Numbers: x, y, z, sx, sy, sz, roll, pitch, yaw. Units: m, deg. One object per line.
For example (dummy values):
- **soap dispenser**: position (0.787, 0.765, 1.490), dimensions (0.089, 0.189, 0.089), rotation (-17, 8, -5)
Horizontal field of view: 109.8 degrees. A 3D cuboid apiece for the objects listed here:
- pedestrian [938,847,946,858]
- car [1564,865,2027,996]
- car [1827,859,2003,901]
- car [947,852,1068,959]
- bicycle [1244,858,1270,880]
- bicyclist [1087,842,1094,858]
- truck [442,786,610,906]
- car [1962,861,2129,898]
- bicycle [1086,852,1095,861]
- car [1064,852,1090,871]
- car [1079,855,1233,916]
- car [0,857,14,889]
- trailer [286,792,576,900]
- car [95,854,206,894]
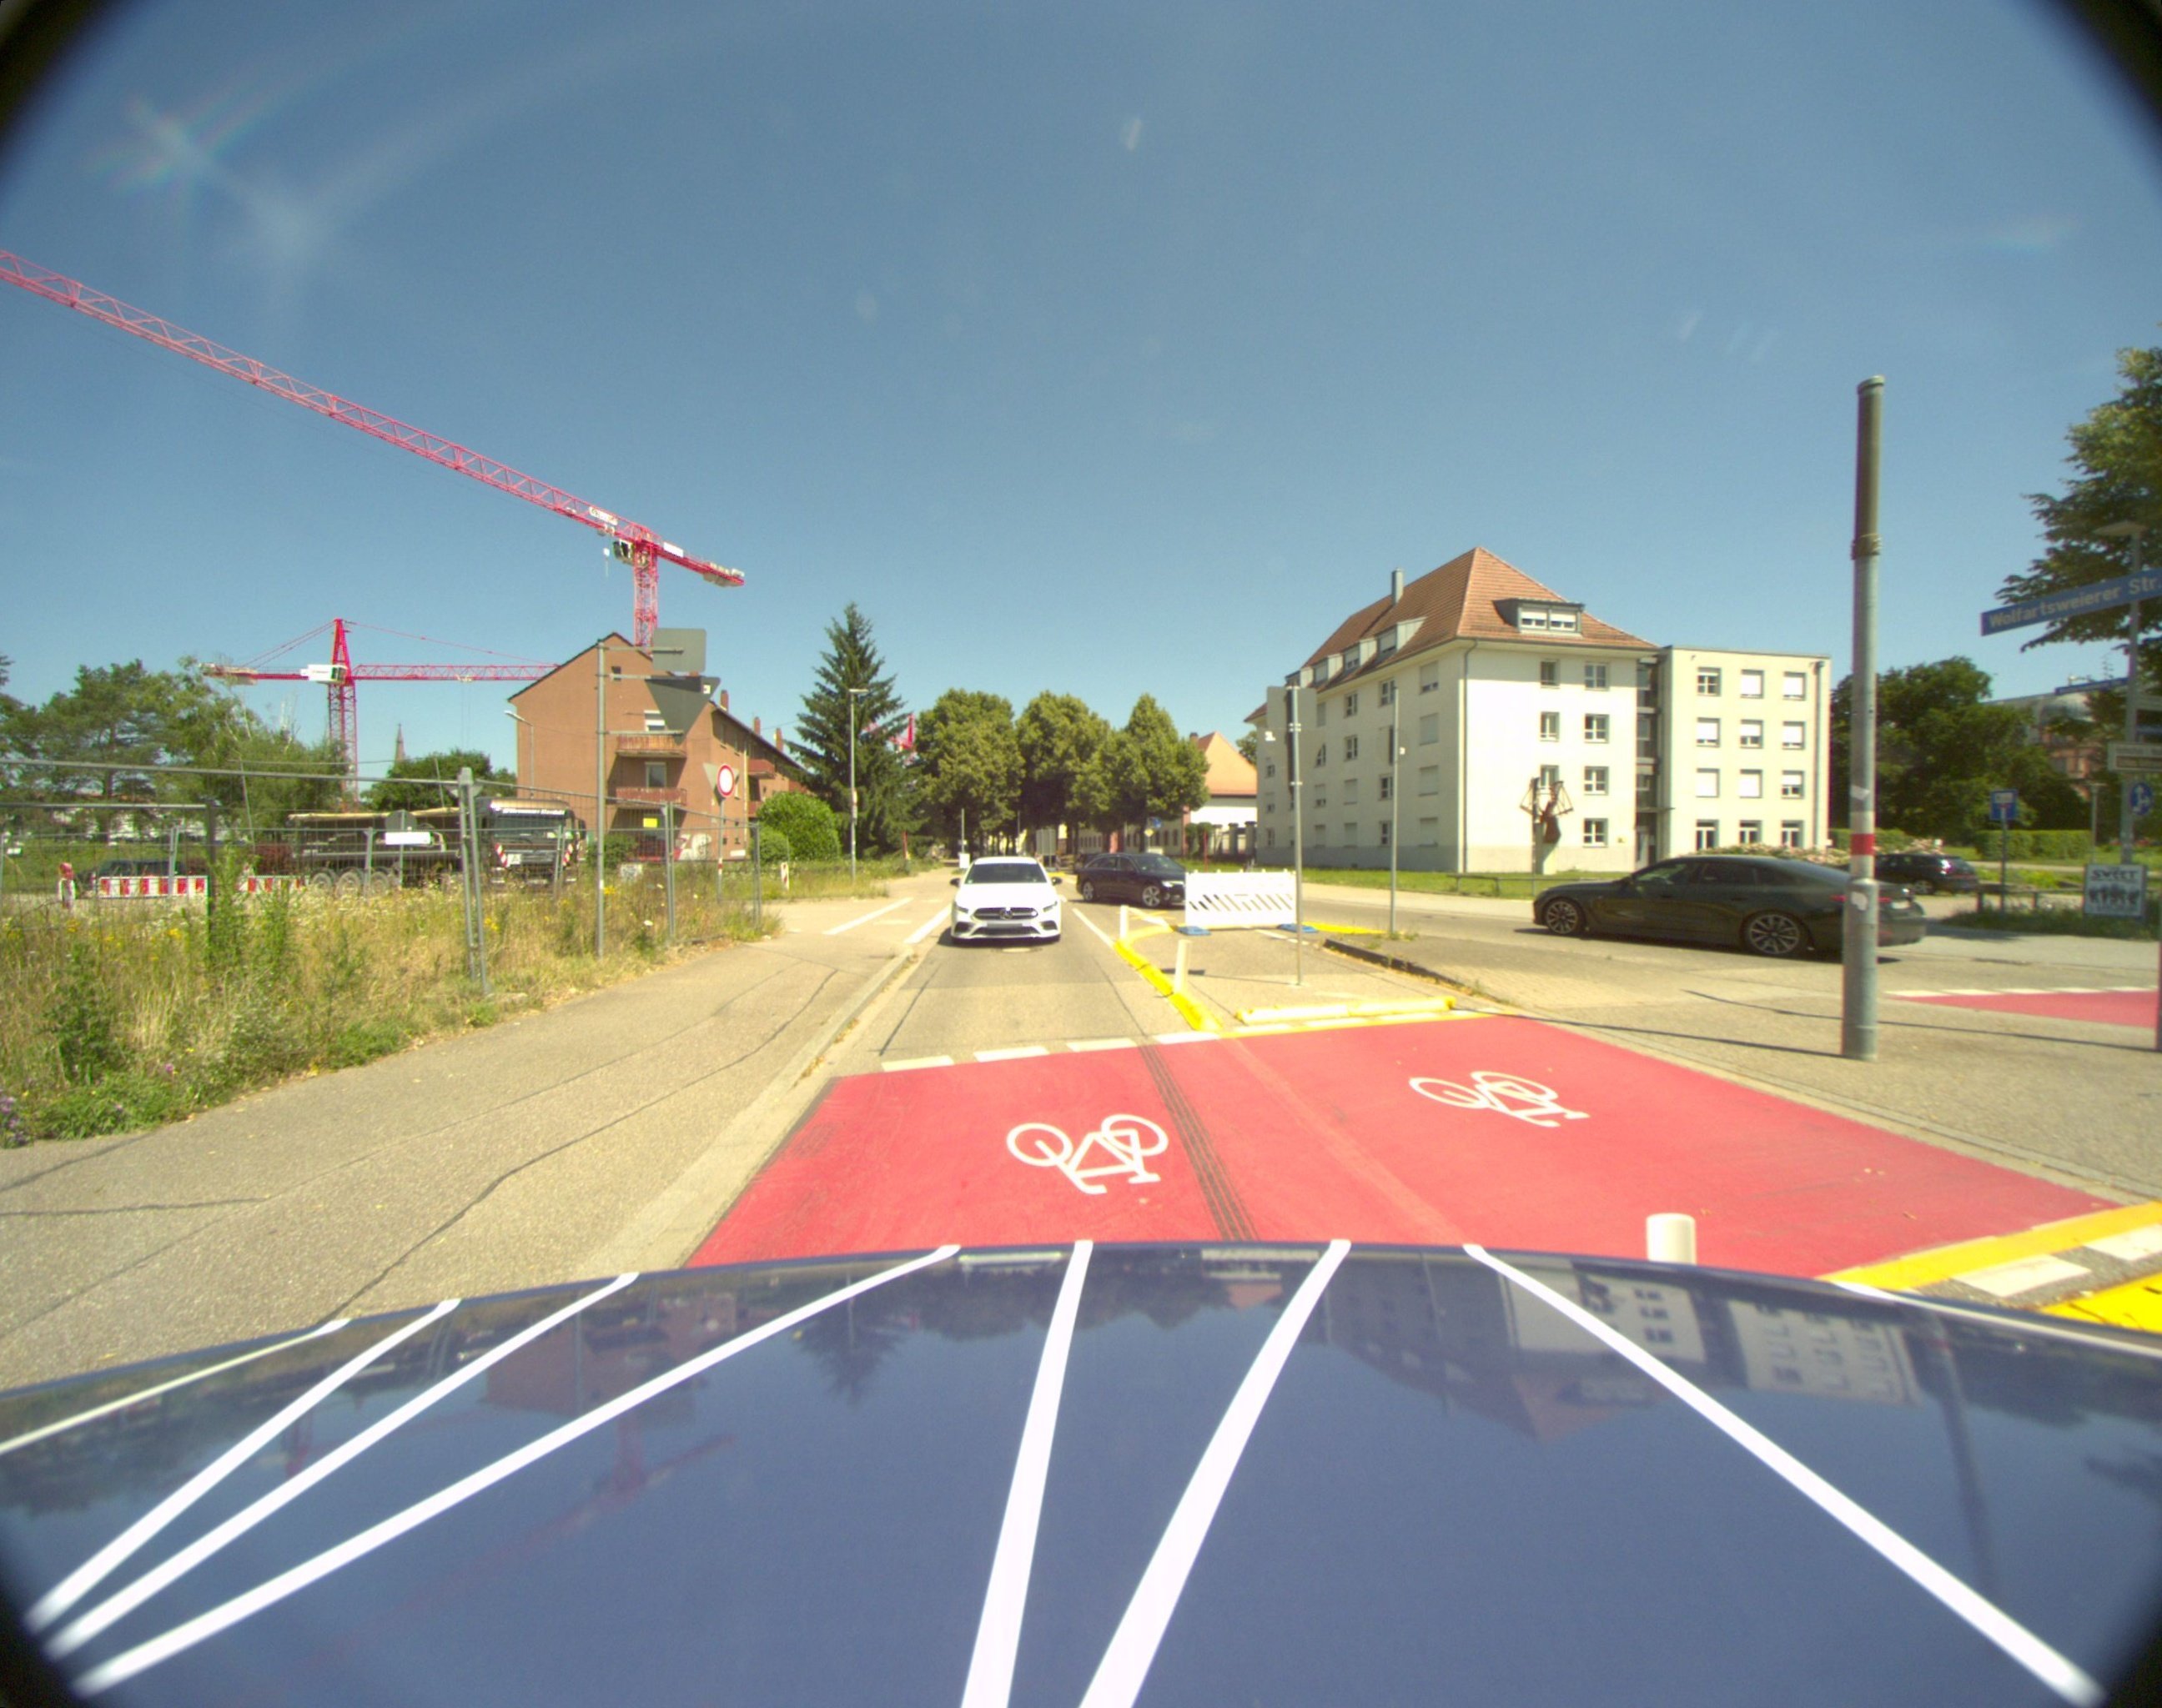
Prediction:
- **pedestrian**: position (-19.732, -0.211, 107.591), dimensions (1.024, 1.509, 0.682), rotation (0, 1, -5)
- **car**: position (9.947, 0.910, 11.081), dimensions (1.726, 1.404, 4.607), rotation (0, 0, -30)
- **car**: position (28.933, 0.853, 26.539), dimensions (1.660, 1.319, 3.804), rotation (0, 1, -11)
- **car**: position (-1.209, 0.782, 13.656), dimensions (1.780, 1.536, 3.961), rotation (-3, 1, -3)
- **bicycle**: position (9.094, 0.768, 39.420), dimensions (0.709, 1.018, 1.984), rotation (-3, 1, -5)
- **bicyclist**: position (0.921, -0.364, 75.209), dimensions (0.569, 1.601, 0.739), rotation (0, 1, -11)
- **truck**: position (-18.338, -0.246, 25.071), dimensions (4.950, 3.512, 3.171), rotation (1, 1, 37)
- **car**: position (34.897, 0.887, 27.636), dimensions (1.357, 1.210, 3.510), rotation (0, 1, -11)
- **bicycle**: position (0.919, 0.264, 75.189), dimensions (0.563, 0.910, 1.906), rotation (0, 1, -11)
- **car**: position (-0.338, 0.556, 57.570), dimensions (1.457, 1.382, 3.338), rotation (0, 0, -10)
- **car**: position (1.896, 0.767, 20.814), dimensions (1.804, 1.443, 4.607), rotation (-1, 1, -31)
- **car**: position (-48.885, 0.830, 33.204), dimensions (2.787, 1.398, 1.419), rotation (0, 2, 7)
- **trailer**: position (-23.239, -0.279, 27.302), dimensions (8.976, 3.512, 3.168), rotation (0, 1, 13)
- **car**: position (-39.404, 0.819, 32.203), dimensions (3.414, 1.604, 1.371), rotation (0, 1, 8)
